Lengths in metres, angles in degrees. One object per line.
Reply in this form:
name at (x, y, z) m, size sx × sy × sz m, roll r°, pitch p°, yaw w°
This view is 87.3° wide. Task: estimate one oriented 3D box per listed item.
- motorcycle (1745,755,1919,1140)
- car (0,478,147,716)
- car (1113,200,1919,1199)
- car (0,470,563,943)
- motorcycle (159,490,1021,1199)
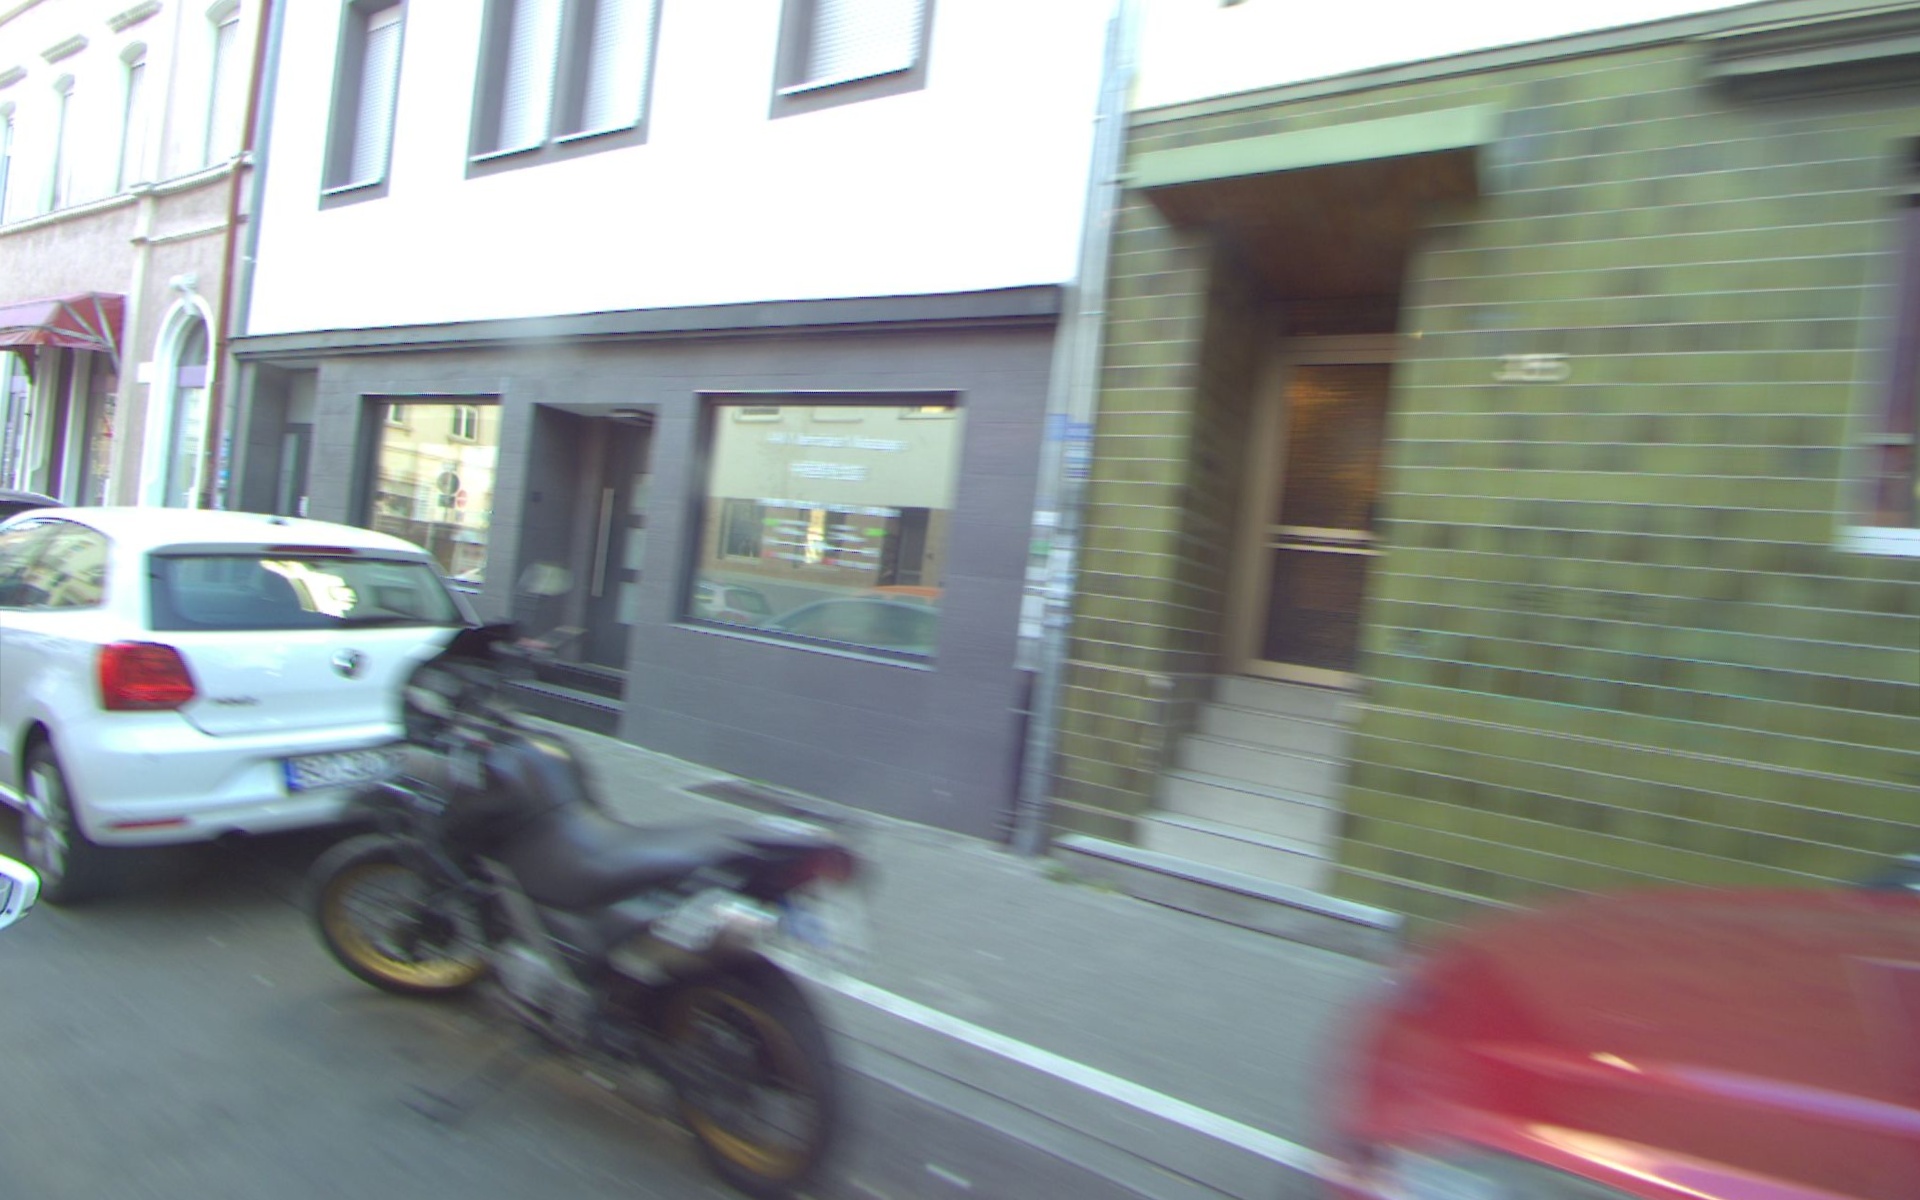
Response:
motorcycle at (3.660, 1.205, 3.065) m, size 1.847 × 1.110 × 0.501 m, roll 6°, pitch 3°, yaw 32°
car at (-7.723, -0.194, 7.288) m, size 3.905 × 1.495 × 1.645 m, roll 6°, pitch 4°, yaw 32°
car at (2.493, 0.764, 0.805) m, size 4.293 × 1.727 × 1.920 m, roll 7°, pitch 0°, yaw 31°
car at (-3.908, 0.217, 4.994) m, size 3.754 × 1.525 × 1.666 m, roll 6°, pitch 2°, yaw 33°
motorcycle at (-1.138, 0.561, 2.733) m, size 2.382 × 1.507 × 0.748 m, roll 6°, pitch -1°, yaw 32°
